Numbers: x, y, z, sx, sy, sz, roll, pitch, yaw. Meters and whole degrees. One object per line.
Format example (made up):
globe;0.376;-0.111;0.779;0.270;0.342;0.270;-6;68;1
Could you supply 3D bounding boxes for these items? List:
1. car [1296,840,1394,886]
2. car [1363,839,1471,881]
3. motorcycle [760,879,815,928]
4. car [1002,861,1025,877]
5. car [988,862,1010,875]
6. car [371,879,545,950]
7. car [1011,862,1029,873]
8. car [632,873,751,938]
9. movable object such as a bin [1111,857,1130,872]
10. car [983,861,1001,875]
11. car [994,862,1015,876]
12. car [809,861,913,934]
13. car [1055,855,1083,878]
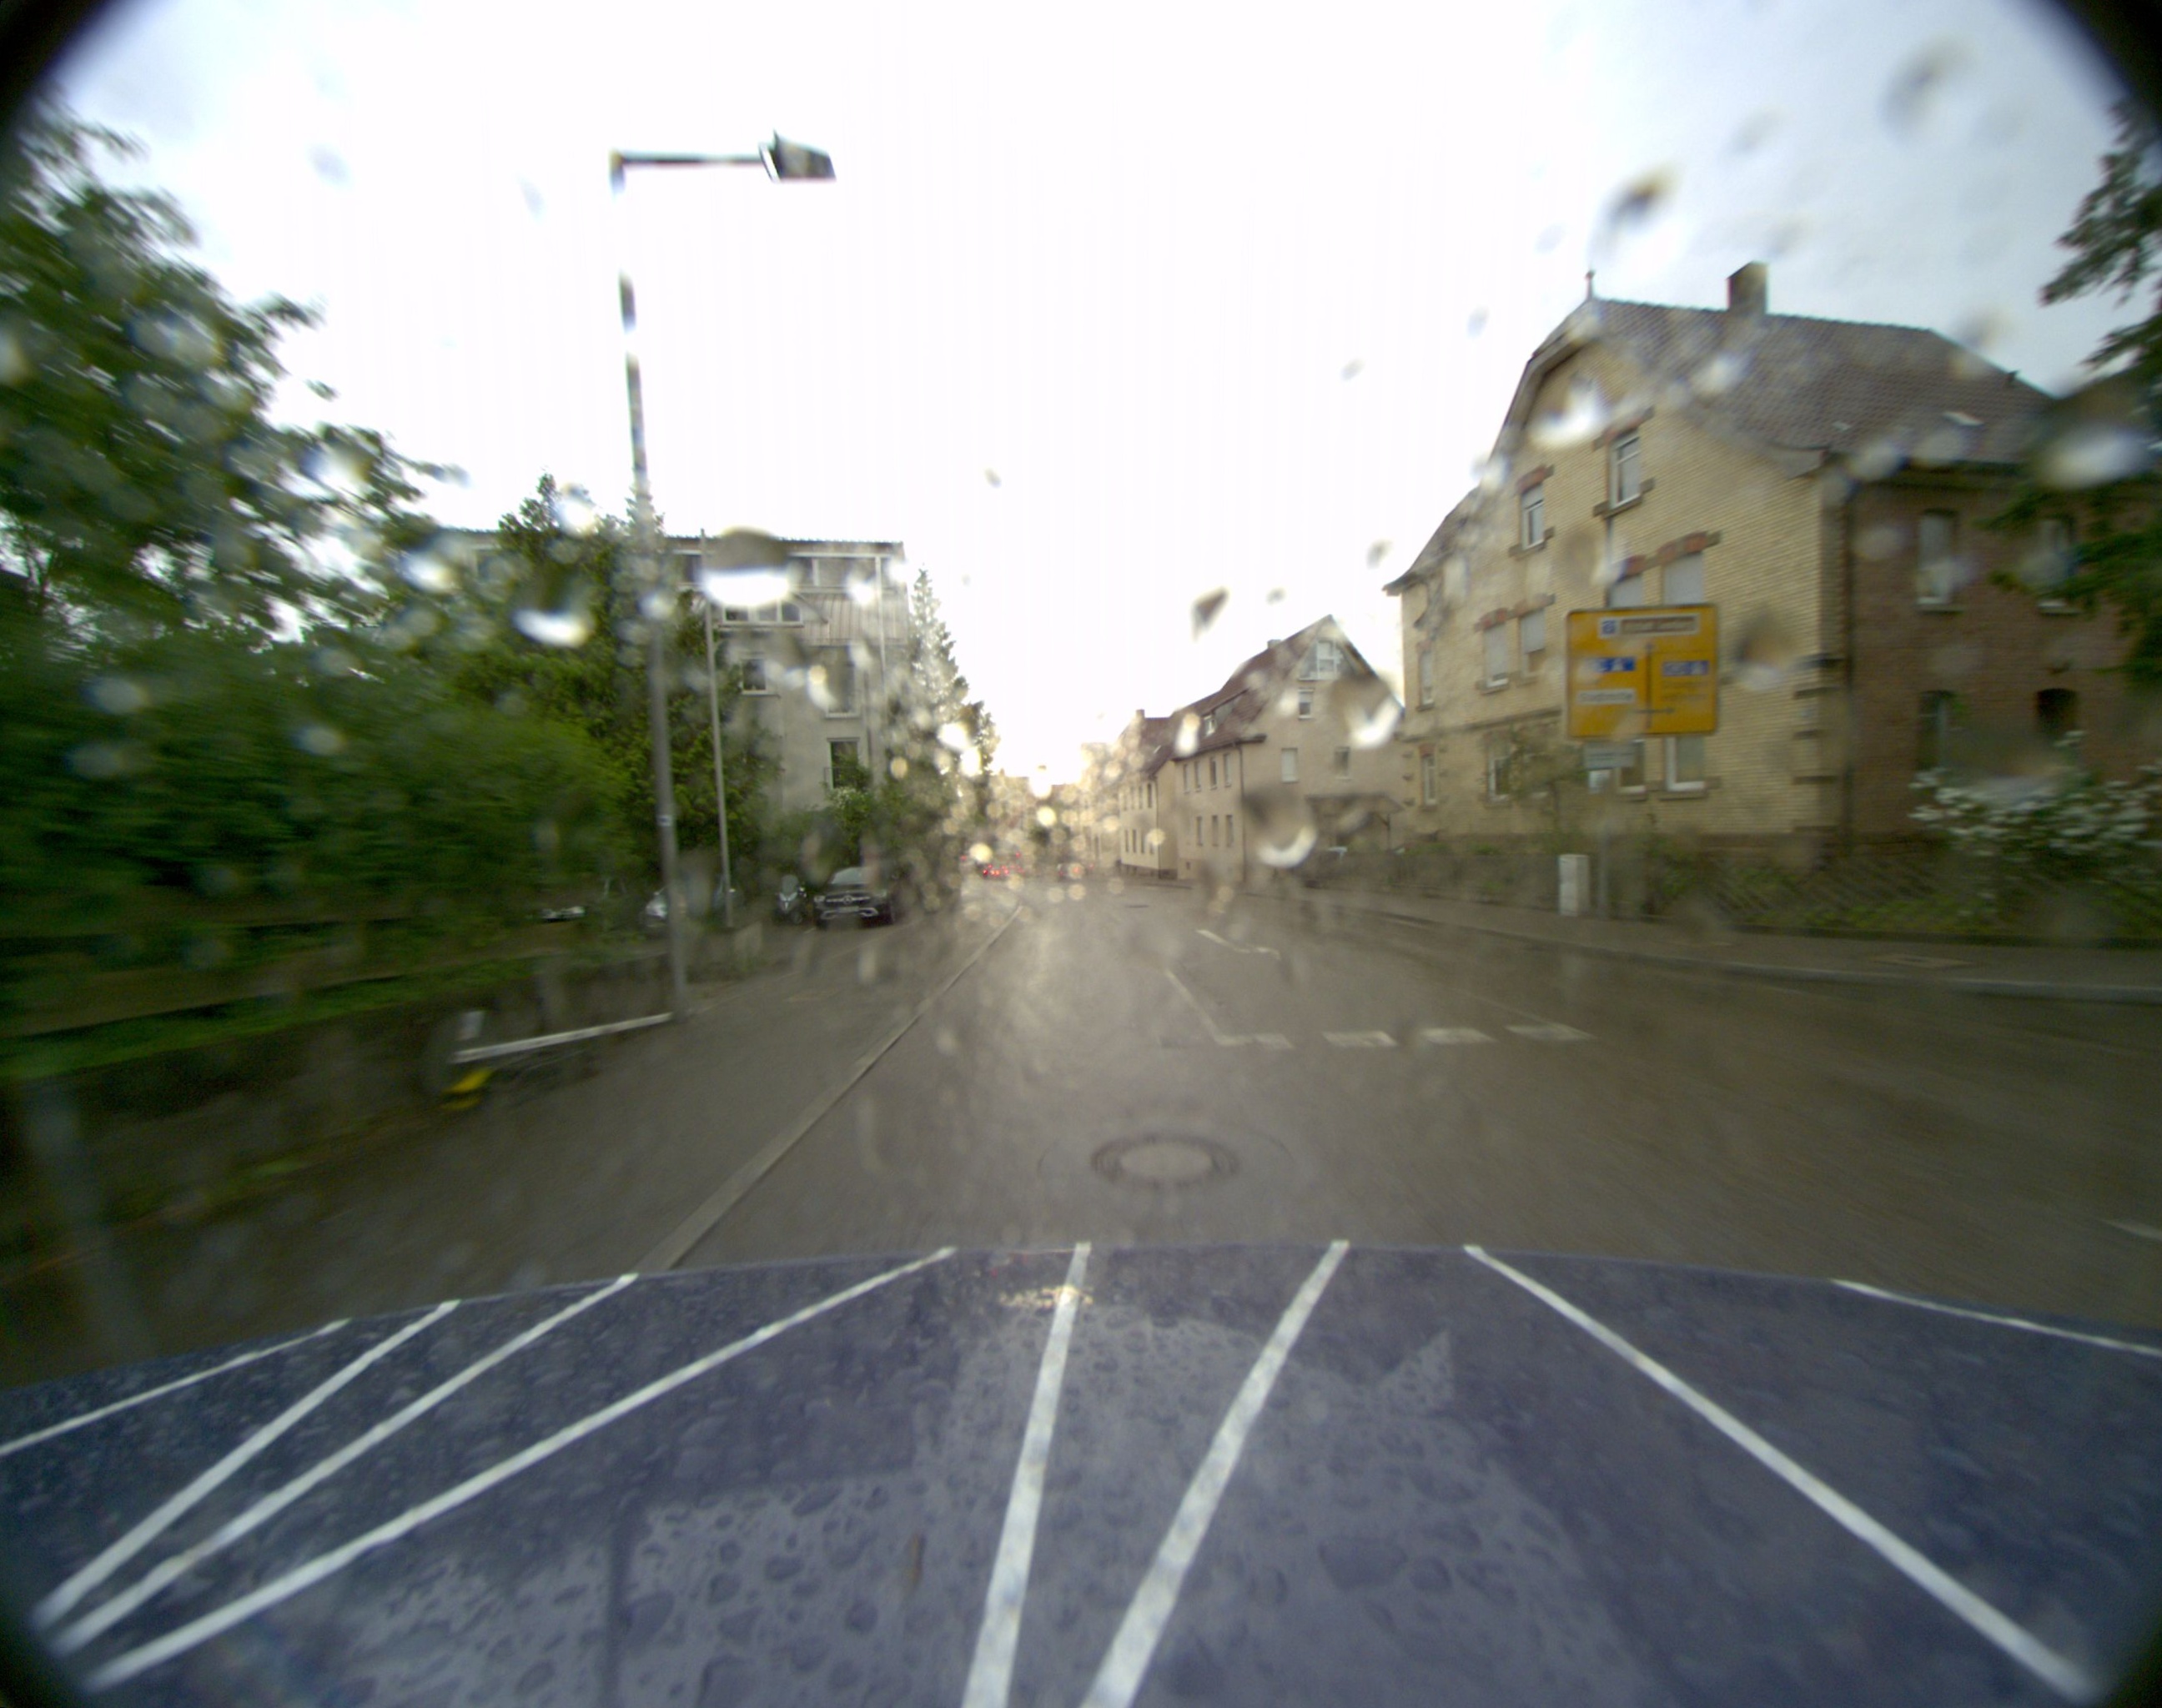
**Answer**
car;9.888;0.340;28.747;1.776;1.494;3.880;-4;0;-9
car;12.614;0.250;28.799;1.776;1.359;3.879;-4;0;-11
motorcycle;-7.995;1.311;20.825;0.854;1.170;2.491;-2;0;-9
car;-6.807;1.501;76.423;1.805;1.431;4.685;-3;0;-10
car;-9.772;1.748;90.266;1.947;1.432;5.011;-3;0;-12
car;-14.941;1.385;18.474;1.764;1.426;3.317;-2;0;-8
car;-7.895;1.724;97.778;1.743;1.346;4.056;-3;0;-12
car;-10.161;1.269;20.136;1.745;1.426;4.021;-2;0;-12
movable object such as a bin;3.402;0.888;65.219;1.284;1.259;1.049;-3;0;-13
car;-11.424;1.746;97.342;1.854;1.653;4.216;-3;0;-11
car;-8.497;1.639;84.395;1.805;1.431;4.685;-3;0;-12
car;-5.722;1.045;20.334;1.786;1.561;4.725;-5;0;-6
car;-0.974;0.965;60.385;1.750;1.562;3.811;-6;1;-5
